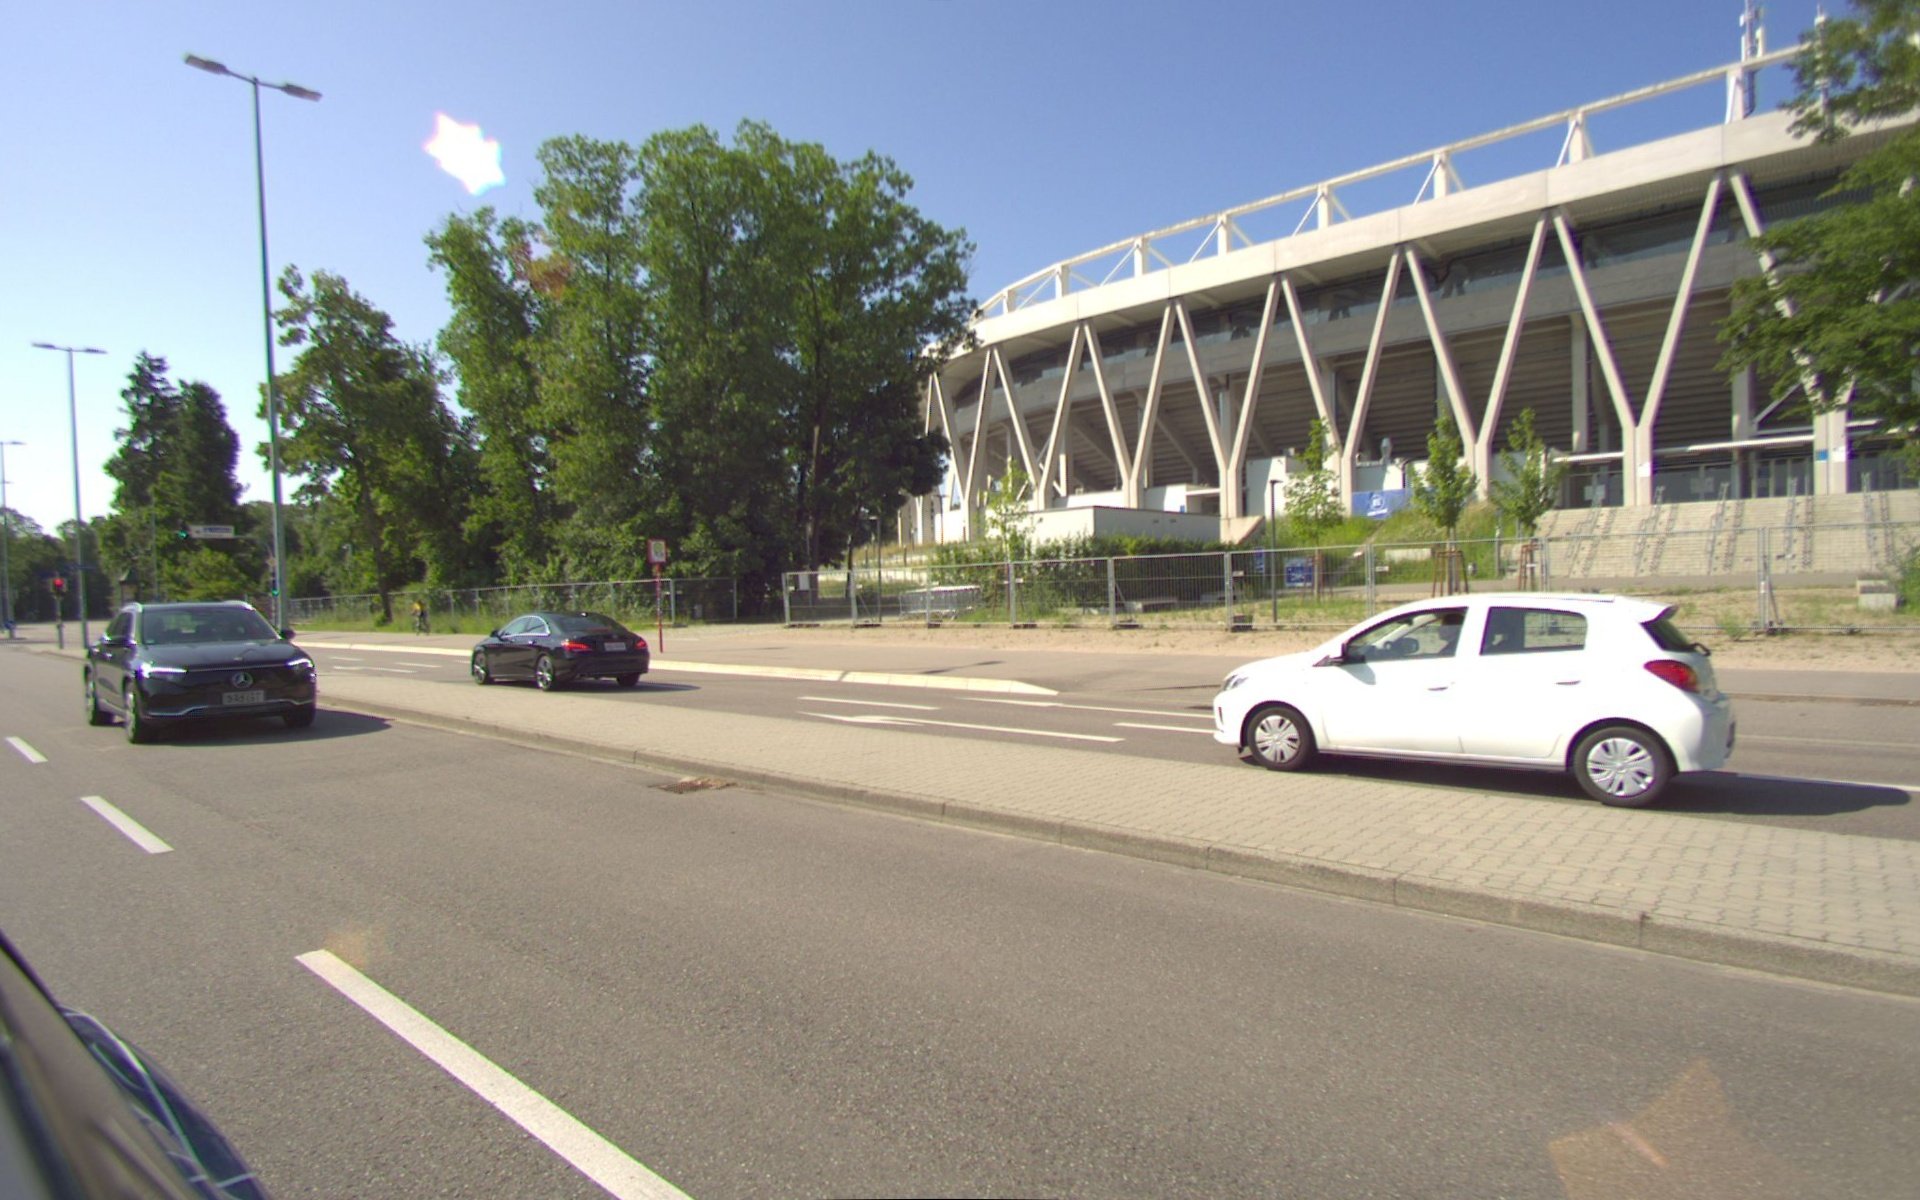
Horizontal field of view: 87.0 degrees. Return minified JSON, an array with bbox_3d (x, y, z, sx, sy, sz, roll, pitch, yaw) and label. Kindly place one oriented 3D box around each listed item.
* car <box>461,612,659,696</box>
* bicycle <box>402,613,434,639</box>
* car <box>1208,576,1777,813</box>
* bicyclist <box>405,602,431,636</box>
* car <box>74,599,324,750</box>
[{"bbox_3d":[-7.586,0.948,19.030,4.160,1.398,1.792,-1,-2,42],"label":"car"},{"bbox_3d":[-24.638,1.188,45.987,1.878,1.144,0.653,-2,2,41],"label":"bicycle"},{"bbox_3d":[4.114,0.627,8.171,3.798,1.477,1.606,-1,-1,41],"label":"car"},{"bbox_3d":[-24.589,0.852,45.922,1.057,1.478,0.653,-2,2,41],"label":"bicyclist"},{"bbox_3d":[-9.820,0.826,12.933,4.272,1.608,1.785,-1,-1,42],"label":"car"}]
